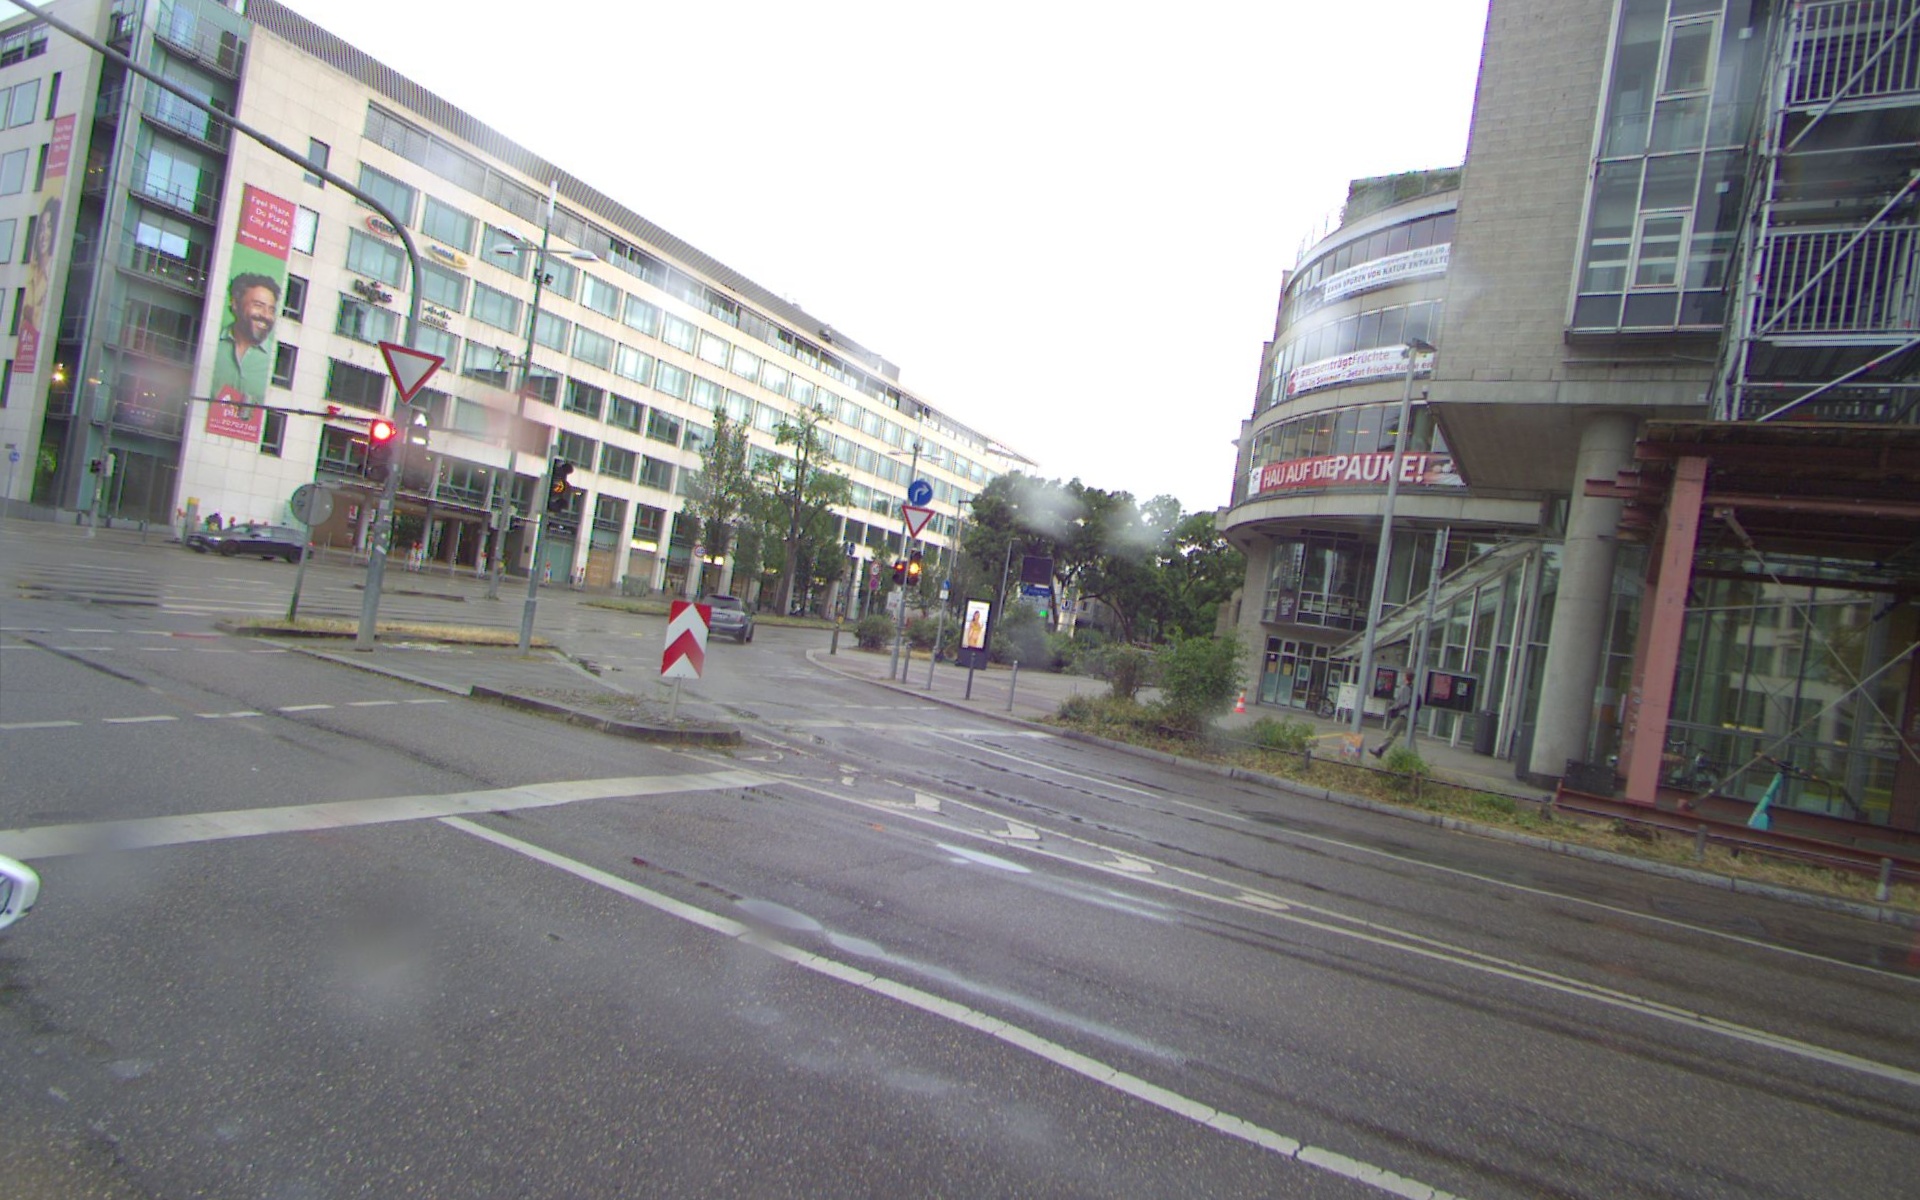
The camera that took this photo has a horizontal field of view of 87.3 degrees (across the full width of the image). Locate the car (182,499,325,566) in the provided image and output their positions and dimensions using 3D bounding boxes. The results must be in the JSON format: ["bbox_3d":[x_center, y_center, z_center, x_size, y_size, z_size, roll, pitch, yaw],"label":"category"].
[{"bbox_3d":[-29.558,-2.776,42.261,1.520,2.036,4.671,7,-2,22],"label":"car"}]

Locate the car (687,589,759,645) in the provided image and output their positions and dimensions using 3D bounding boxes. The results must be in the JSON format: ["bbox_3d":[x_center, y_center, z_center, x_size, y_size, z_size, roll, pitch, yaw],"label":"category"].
[{"bbox_3d":[-7.497,0.560,32.126,1.715,1.472,3.719,8,-2,-8],"label":"car"}]

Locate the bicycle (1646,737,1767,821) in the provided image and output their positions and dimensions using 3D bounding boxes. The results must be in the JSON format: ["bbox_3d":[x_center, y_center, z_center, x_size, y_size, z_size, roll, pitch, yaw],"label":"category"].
[{"bbox_3d":[13.498,3.226,18.224,1.584,1.208,0.587,7,-1,6],"label":"bicycle"}]

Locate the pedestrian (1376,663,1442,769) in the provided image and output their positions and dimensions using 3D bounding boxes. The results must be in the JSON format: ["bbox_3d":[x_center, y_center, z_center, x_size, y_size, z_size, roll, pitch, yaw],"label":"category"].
[{"bbox_3d":[8.229,2.107,18.483,0.776,1.796,0.781,7,-1,13],"label":"pedestrian"}]

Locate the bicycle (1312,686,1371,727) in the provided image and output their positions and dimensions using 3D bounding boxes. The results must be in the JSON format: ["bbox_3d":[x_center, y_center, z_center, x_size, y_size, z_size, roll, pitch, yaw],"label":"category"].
[{"bbox_3d":[13.467,3.748,35.526,1.753,1.208,0.586,6,-1,29],"label":"bicycle"}]

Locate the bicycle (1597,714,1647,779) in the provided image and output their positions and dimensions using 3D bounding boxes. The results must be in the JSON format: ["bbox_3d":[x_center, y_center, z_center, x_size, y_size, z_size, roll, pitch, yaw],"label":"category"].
[{"bbox_3d":[13.706,3.008,20.858,0.576,1.208,1.614,7,-2,27],"label":"bicycle"}]

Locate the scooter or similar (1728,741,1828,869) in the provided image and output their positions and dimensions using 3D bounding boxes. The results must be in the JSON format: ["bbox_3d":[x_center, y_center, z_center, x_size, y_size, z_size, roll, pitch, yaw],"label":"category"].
[{"bbox_3d":[9.235,2.271,11.413,0.577,1.208,1.780,7,-1,34],"label":"scooter or similar"}]

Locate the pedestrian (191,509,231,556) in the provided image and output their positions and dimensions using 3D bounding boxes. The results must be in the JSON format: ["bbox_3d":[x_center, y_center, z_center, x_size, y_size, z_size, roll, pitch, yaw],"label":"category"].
[{"bbox_3d":[-32.181,-2.905,43.234,0.822,1.838,0.963,6,-1,31],"label":"pedestrian"}]
